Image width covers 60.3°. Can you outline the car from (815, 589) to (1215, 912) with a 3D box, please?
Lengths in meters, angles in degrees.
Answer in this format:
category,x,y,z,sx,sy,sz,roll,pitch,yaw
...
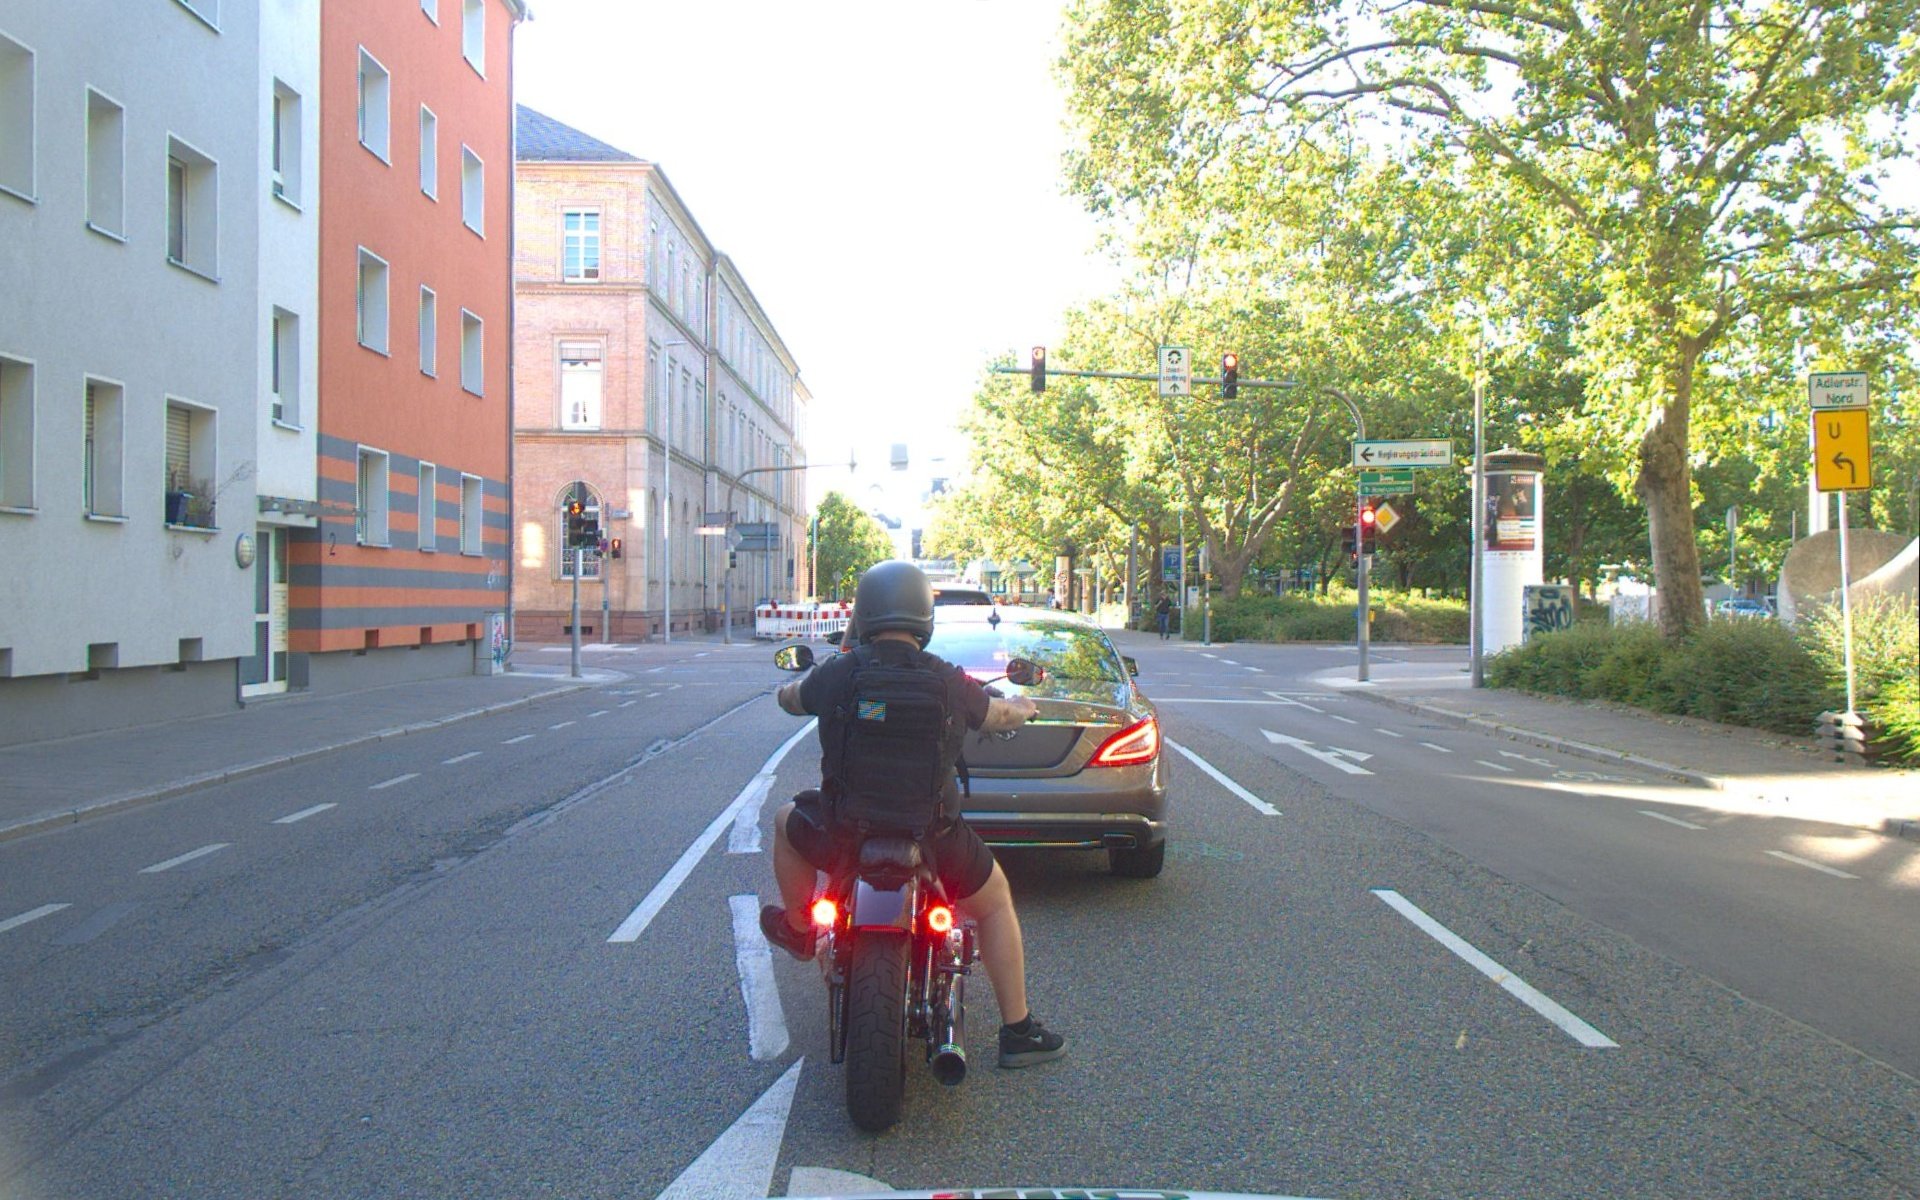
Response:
category,x,y,z,sx,sy,sz,roll,pitch,yaw
car,0.234,0.693,9.627,1.844,1.475,3.819,1,0,-1

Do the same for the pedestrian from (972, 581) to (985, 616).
category,x,y,z,sx,sy,sz,roll,pitch,yaw
pedestrian,1.142,-0.088,100.917,0.748,2.087,0.712,1,-1,-1

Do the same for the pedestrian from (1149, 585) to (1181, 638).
category,x,y,z,sx,sy,sz,roll,pitch,yaw
pedestrian,7.605,0.439,61.374,0.741,1.943,0.917,1,-1,-29

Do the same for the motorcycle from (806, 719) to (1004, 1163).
category,x,y,z,sx,sy,sz,roll,pitch,yaw
motorcycle,-0.158,0.969,5.352,0.503,1.020,2.013,1,0,-1

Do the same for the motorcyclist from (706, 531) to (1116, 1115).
category,x,y,z,sx,sy,sz,roll,pitch,yaw
motorcyclist,-0.144,0.631,5.296,1.125,1.626,1.288,1,0,-1

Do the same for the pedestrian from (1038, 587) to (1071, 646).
category,x,y,z,sx,sy,sz,roll,pitch,yaw
pedestrian,3.004,0.521,52.654,0.980,1.858,1.077,1,0,5

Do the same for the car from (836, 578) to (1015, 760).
category,x,y,z,sx,sy,sz,roll,pitch,yaw
car,-0.332,0.606,16.735,1.588,1.622,3.999,0,0,-1
